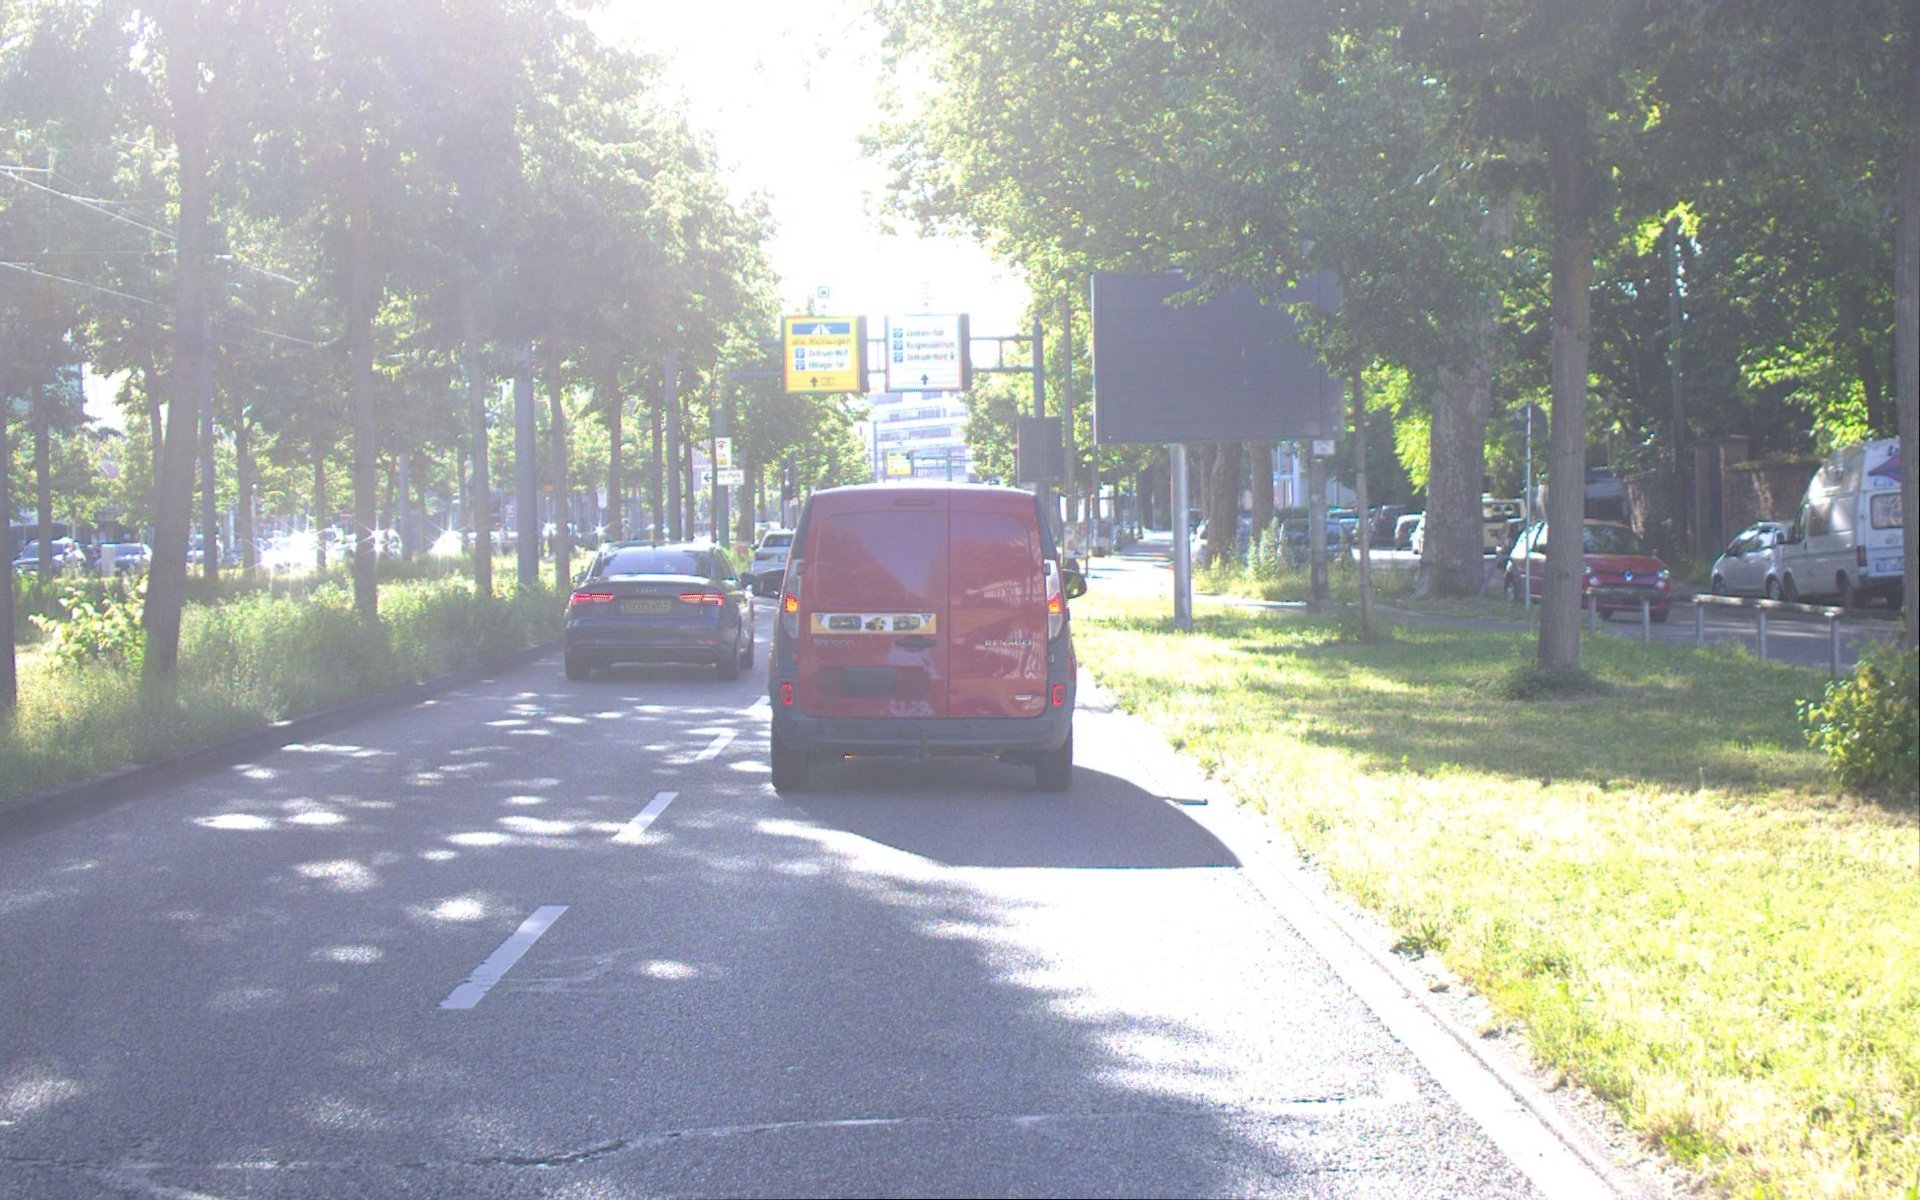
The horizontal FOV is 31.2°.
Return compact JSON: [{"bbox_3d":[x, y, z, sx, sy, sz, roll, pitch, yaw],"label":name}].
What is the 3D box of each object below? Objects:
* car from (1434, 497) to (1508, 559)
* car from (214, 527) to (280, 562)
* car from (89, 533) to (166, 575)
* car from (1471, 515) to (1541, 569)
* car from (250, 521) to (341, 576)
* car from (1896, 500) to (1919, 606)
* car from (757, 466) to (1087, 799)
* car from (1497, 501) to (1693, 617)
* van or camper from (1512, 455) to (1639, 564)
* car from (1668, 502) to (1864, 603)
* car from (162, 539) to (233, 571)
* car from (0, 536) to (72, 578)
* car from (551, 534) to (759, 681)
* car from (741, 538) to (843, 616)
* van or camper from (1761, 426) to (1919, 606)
[{"bbox_3d":[16.969,-2.401,114.264,2.087,2.007,4.942,0,1,4],"label":"car"},{"bbox_3d":[-32.913,-2.562,158.782,1.993,1.603,4.611,1,1,1],"label":"car"},{"bbox_3d":[-33.158,-1.823,137.007,1.879,1.615,4.611,1,1,1],"label":"car"},{"bbox_3d":[15.943,-1.712,100.540,1.690,1.467,3.757,-3,1,5],"label":"car"},{"bbox_3d":[-21.353,-1.662,110.678,1.993,1.680,5.111,1,1,-1],"label":"car"},{"bbox_3d":[15.249,-0.666,49.860,1.993,1.568,4.001,1,1,-4],"label":"car"},{"bbox_3d":[-0.318,0.150,21.088,1.808,1.831,4.001,1,1,-3],"label":"car"},{"bbox_3d":[9.341,-0.617,50.894,1.993,1.634,4.000,1,1,-2],"label":"car"},{"bbox_3d":[16.276,-2.418,91.224,2.557,2.675,6.564,-3,2,4],"label":"van or camper"},{"bbox_3d":[14.401,-0.863,61.644,1.839,1.612,4.001,-5,2,-11],"label":"car"},{"bbox_3d":[-32.403,-1.926,146.216,1.912,1.321,4.611,1,1,1],"label":"car"},{"bbox_3d":[-33.204,-1.536,122.690,1.879,1.430,4.611,-1,1,-1],"label":"car"},{"bbox_3d":[-3.110,0.041,35.750,1.792,1.423,4.000,1,1,0],"label":"car"},{"bbox_3d":[-3.608,-0.519,74.346,1.993,1.612,4.000,1,1,0],"label":"car"},{"bbox_3d":[14.728,-1.373,55.632,1.993,2.722,4.965,-4,1,-3],"label":"van or camper"}]
